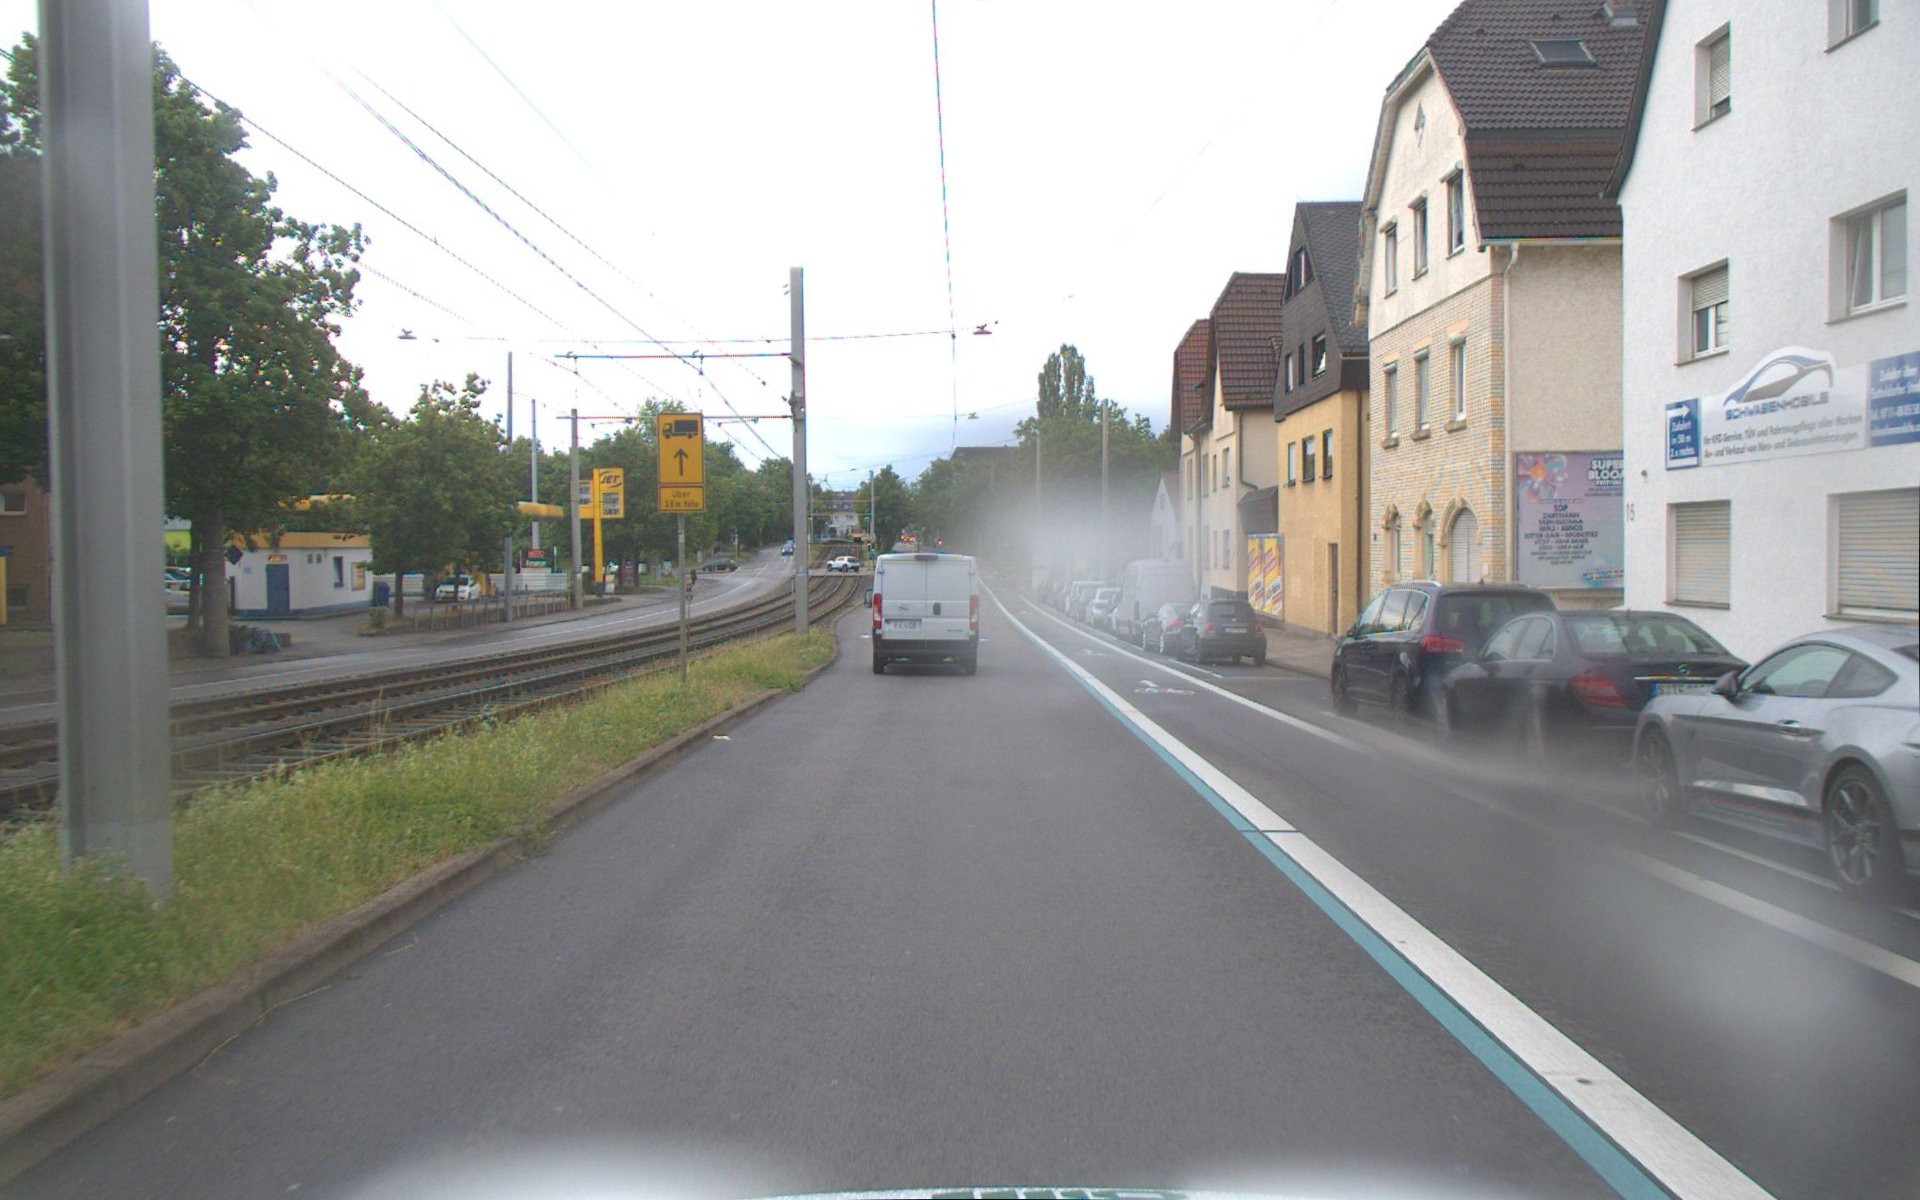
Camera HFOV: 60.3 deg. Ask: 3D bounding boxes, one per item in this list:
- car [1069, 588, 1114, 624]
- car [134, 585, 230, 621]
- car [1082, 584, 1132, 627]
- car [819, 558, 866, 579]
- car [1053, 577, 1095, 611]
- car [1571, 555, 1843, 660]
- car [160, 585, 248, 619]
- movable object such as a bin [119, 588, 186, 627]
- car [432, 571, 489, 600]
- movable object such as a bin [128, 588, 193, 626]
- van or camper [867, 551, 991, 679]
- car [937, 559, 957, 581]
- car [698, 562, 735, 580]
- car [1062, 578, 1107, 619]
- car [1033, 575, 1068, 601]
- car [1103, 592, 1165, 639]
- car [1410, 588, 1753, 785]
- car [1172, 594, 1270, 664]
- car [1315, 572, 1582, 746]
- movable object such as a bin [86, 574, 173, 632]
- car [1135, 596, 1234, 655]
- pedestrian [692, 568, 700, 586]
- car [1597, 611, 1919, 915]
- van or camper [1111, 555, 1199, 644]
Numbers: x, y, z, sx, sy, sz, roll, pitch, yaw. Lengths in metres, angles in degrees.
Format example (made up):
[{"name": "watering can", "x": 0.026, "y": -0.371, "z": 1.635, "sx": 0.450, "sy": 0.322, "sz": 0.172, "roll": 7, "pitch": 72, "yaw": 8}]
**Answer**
[{"name": "car", "x": 5.850, "y": 0.241, "z": 73.784, "sx": 1.613, "sy": 1.471, "sz": 3.954, "roll": 1, "pitch": 1, "yaw": -1}, {"name": "car", "x": -34.139, "y": 0.141, "z": 72.625, "sx": 3.718, "sy": 1.479, "sz": 1.539, "roll": 2, "pitch": 0, "yaw": -27}, {"name": "car", "x": 6.029, "y": 0.186, "z": 68.082, "sx": 1.613, "sy": 1.643, "sz": 4.104, "roll": 1, "pitch": 1, "yaw": -1}, {"name": "car", "x": -12.411, "y": -3.334, "z": 174.925, "sx": 4.420, "sy": 2.049, "sz": 2.000, "roll": 1, "pitch": 0, "yaw": 21}, {"name": "car", "x": 6.116, "y": -0.345, "z": 89.230, "sx": 1.810, "sy": 1.674, "sz": 3.953, "roll": 1, "pitch": 1, "yaw": -2}, {"name": "car", "x": 12.976, "y": 0.113, "z": 28.880, "sx": 3.907, "sy": 1.682, "sz": 1.870, "roll": -1, "pitch": 1, "yaw": -3}, {"name": "car", "x": -35.602, "y": 0.094, "z": 77.920, "sx": 3.718, "sy": 1.505, "sz": 1.562, "roll": 1, "pitch": 0, "yaw": -27}, {"name": "movable object such as a bin", "x": -31.307, "y": 0.276, "z": 64.155, "sx": 1.958, "sy": 1.399, "sz": 1.565, "roll": 1, "pitch": 1, "yaw": -12}, {"name": "car", "x": -26.597, "y": -0.767, "z": 88.129, "sx": 1.954, "sy": 1.467, "sz": 3.998, "roll": 1, "pitch": 0, "yaw": -3}, {"name": "movable object such as a bin", "x": -31.812, "y": 0.259, "z": 65.833, "sx": 1.958, "sy": 1.399, "sz": 1.565, "roll": 1, "pitch": 1, "yaw": -12}, {"name": "van or camper", "x": -0.697, "y": 0.266, "z": 32.510, "sx": 2.155, "sy": 2.292, "sz": 4.680, "roll": 1, "pitch": 0, "yaw": -4}, {"name": "car", "x": -1.273, "y": -2.879, "z": 161.132, "sx": 1.953, "sy": 2.049, "sz": 3.999, "roll": 1, "pitch": 0, "yaw": -1}, {"name": "car", "x": -26.184, "y": -3.081, "z": 177.986, "sx": 3.910, "sy": 1.881, "sz": 1.998, "roll": -1, "pitch": 0, "yaw": -6}, {"name": "car", "x": 5.961, "y": -0.076, "z": 79.272, "sx": 1.712, "sy": 1.839, "sz": 3.953, "roll": 1, "pitch": 1, "yaw": -2}, {"name": "car", "x": 5.594, "y": -0.759, "z": 102.501, "sx": 1.810, "sy": 1.526, "sz": 3.953, "roll": 1, "pitch": 0, "yaw": -2}, {"name": "car", "x": 6.085, "y": 0.517, "z": 58.182, "sx": 1.674, "sy": 1.471, "sz": 4.040, "roll": 1, "pitch": 1, "yaw": -1}, {"name": "car", "x": 5.656, "y": 0.701, "z": 15.614, "sx": 1.600, "sy": 1.565, "sz": 4.135, "roll": 2, "pitch": 0, "yaw": -1}, {"name": "car", "x": 6.170, "y": 0.656, "z": 39.387, "sx": 1.534, "sy": 1.524, "sz": 3.510, "roll": 2, "pitch": 0, "yaw": -4}, {"name": "car", "x": 5.804, "y": 0.634, "z": 20.284, "sx": 1.802, "sy": 1.831, "sz": 4.686, "roll": 2, "pitch": 0, "yaw": -1}, {"name": "movable object such as a bin", "x": -30.682, "y": 0.083, "z": 61.206, "sx": 1.958, "sy": 1.952, "sz": 3.562, "roll": 1, "pitch": 2, "yaw": -12}, {"name": "car", "x": 6.073, "y": 0.665, "z": 45.205, "sx": 1.753, "sy": 1.430, "sz": 4.549, "roll": 1, "pitch": 1, "yaw": -4}, {"name": "pedestrian", "x": -22.567, "y": -1.946, "z": 141.362, "sx": 0.602, "sy": 1.501, "sz": 0.641, "roll": -1, "pitch": 0, "yaw": -14}, {"name": "car", "x": 5.513, "y": 0.795, "z": 9.878, "sx": 1.759, "sy": 1.400, "sz": 4.671, "roll": 0, "pitch": 0, "yaw": 2}, {"name": "van or camper", "x": 6.094, "y": -0.087, "z": 52.405, "sx": 1.953, "sy": 2.608, "sz": 6.043, "roll": 1, "pitch": 1, "yaw": -1}]
